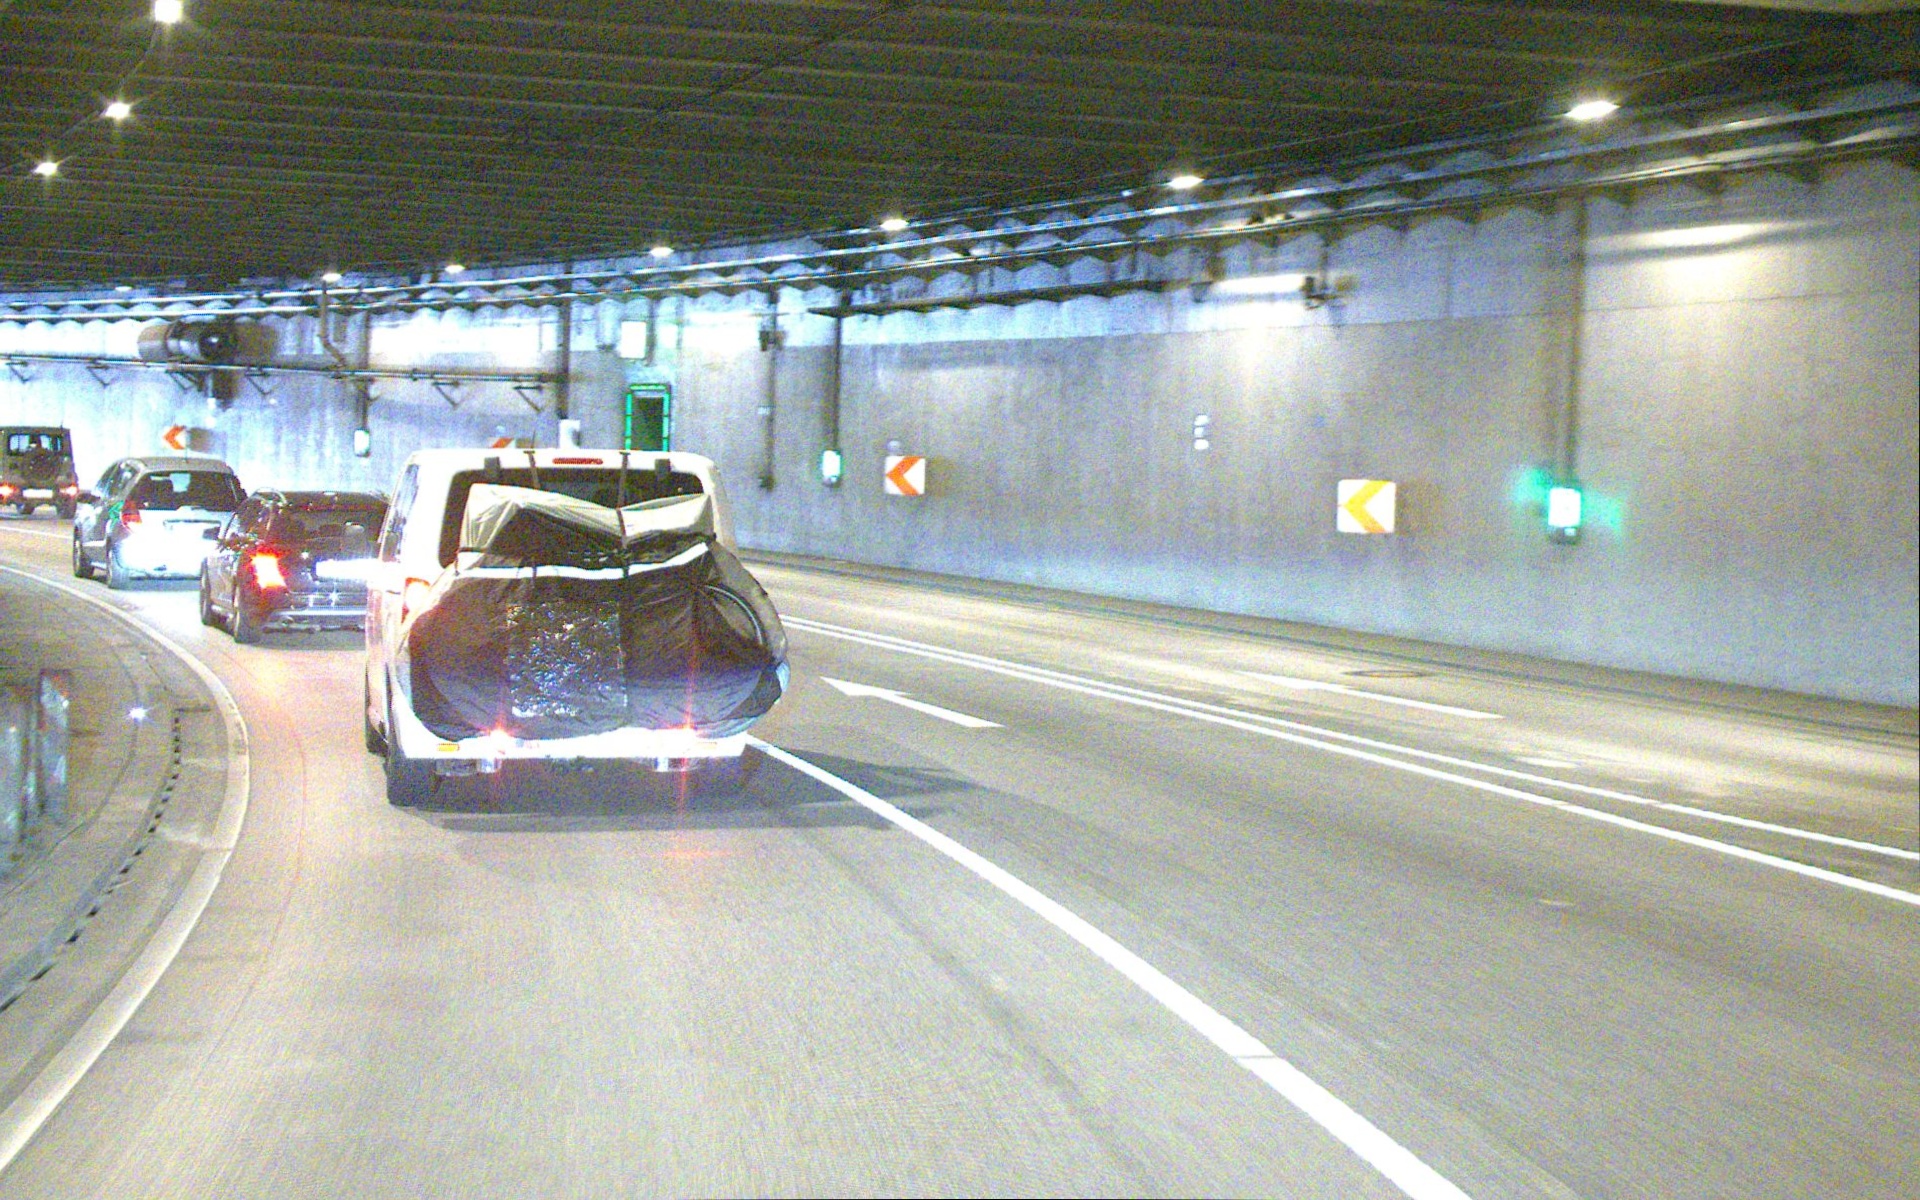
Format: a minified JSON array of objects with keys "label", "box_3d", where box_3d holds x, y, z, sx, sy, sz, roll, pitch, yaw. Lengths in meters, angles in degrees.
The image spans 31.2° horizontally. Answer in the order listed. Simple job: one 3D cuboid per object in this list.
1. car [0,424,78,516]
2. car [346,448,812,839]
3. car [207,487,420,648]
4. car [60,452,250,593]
[{"label":"car","box_3d":[-17.338,-2.380,62.863,1.602,1.624,3.356,0,2,-28]},{"label":"car","box_3d":[-2.260,0.117,18.954,1.993,1.841,5.303,0,2,-12]},{"label":"car","box_3d":[-6.121,-0.342,32.327,1.602,1.390,3.278,0,2,-17]},{"label":"car","box_3d":[-9.802,-0.945,41.711,1.602,1.588,3.356,2,1,-24]}]
